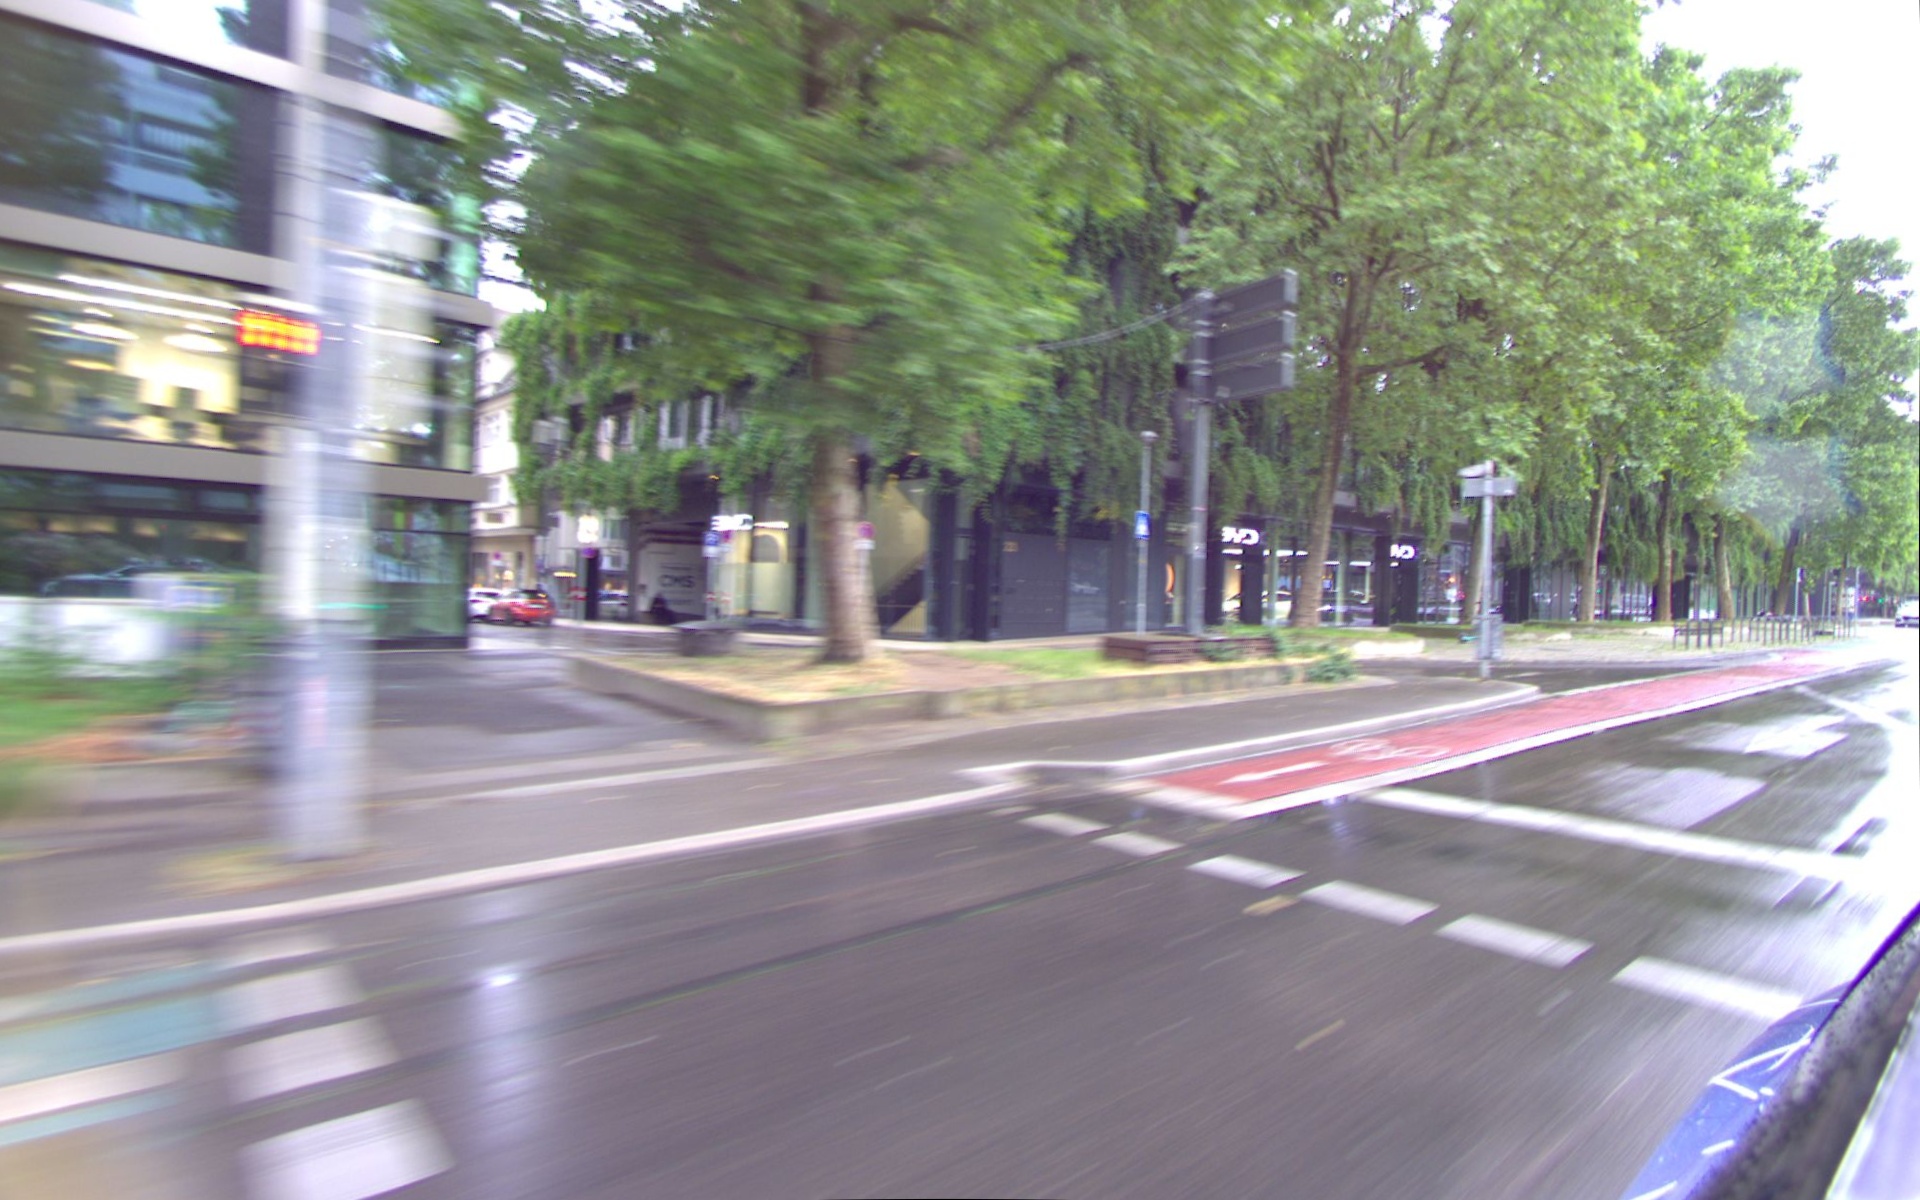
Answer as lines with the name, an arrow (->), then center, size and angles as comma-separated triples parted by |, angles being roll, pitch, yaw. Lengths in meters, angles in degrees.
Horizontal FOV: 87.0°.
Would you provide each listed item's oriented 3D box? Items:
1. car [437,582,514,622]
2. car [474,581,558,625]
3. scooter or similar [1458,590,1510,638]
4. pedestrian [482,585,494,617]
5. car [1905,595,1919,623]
car -> -20.467, 0.083, 42.710 | 3.789, 1.609, 1.757 | -1, 0, 45
car -> -17.364, 0.123, 39.523 | 1.814, 1.609, 3.991 | -1, 0, -43
scooter or similar -> 14.509, 0.380, 28.042 | 1.165, 1.298, 0.535 | 0, 0, 9
pedestrian -> -22.246, 0.038, 47.713 | 0.413, 1.475, 0.426 | 0, -1, -43
car -> 62.436, 0.545, 65.142 | 4.520, 1.758, 1.930 | -1, 0, -42
